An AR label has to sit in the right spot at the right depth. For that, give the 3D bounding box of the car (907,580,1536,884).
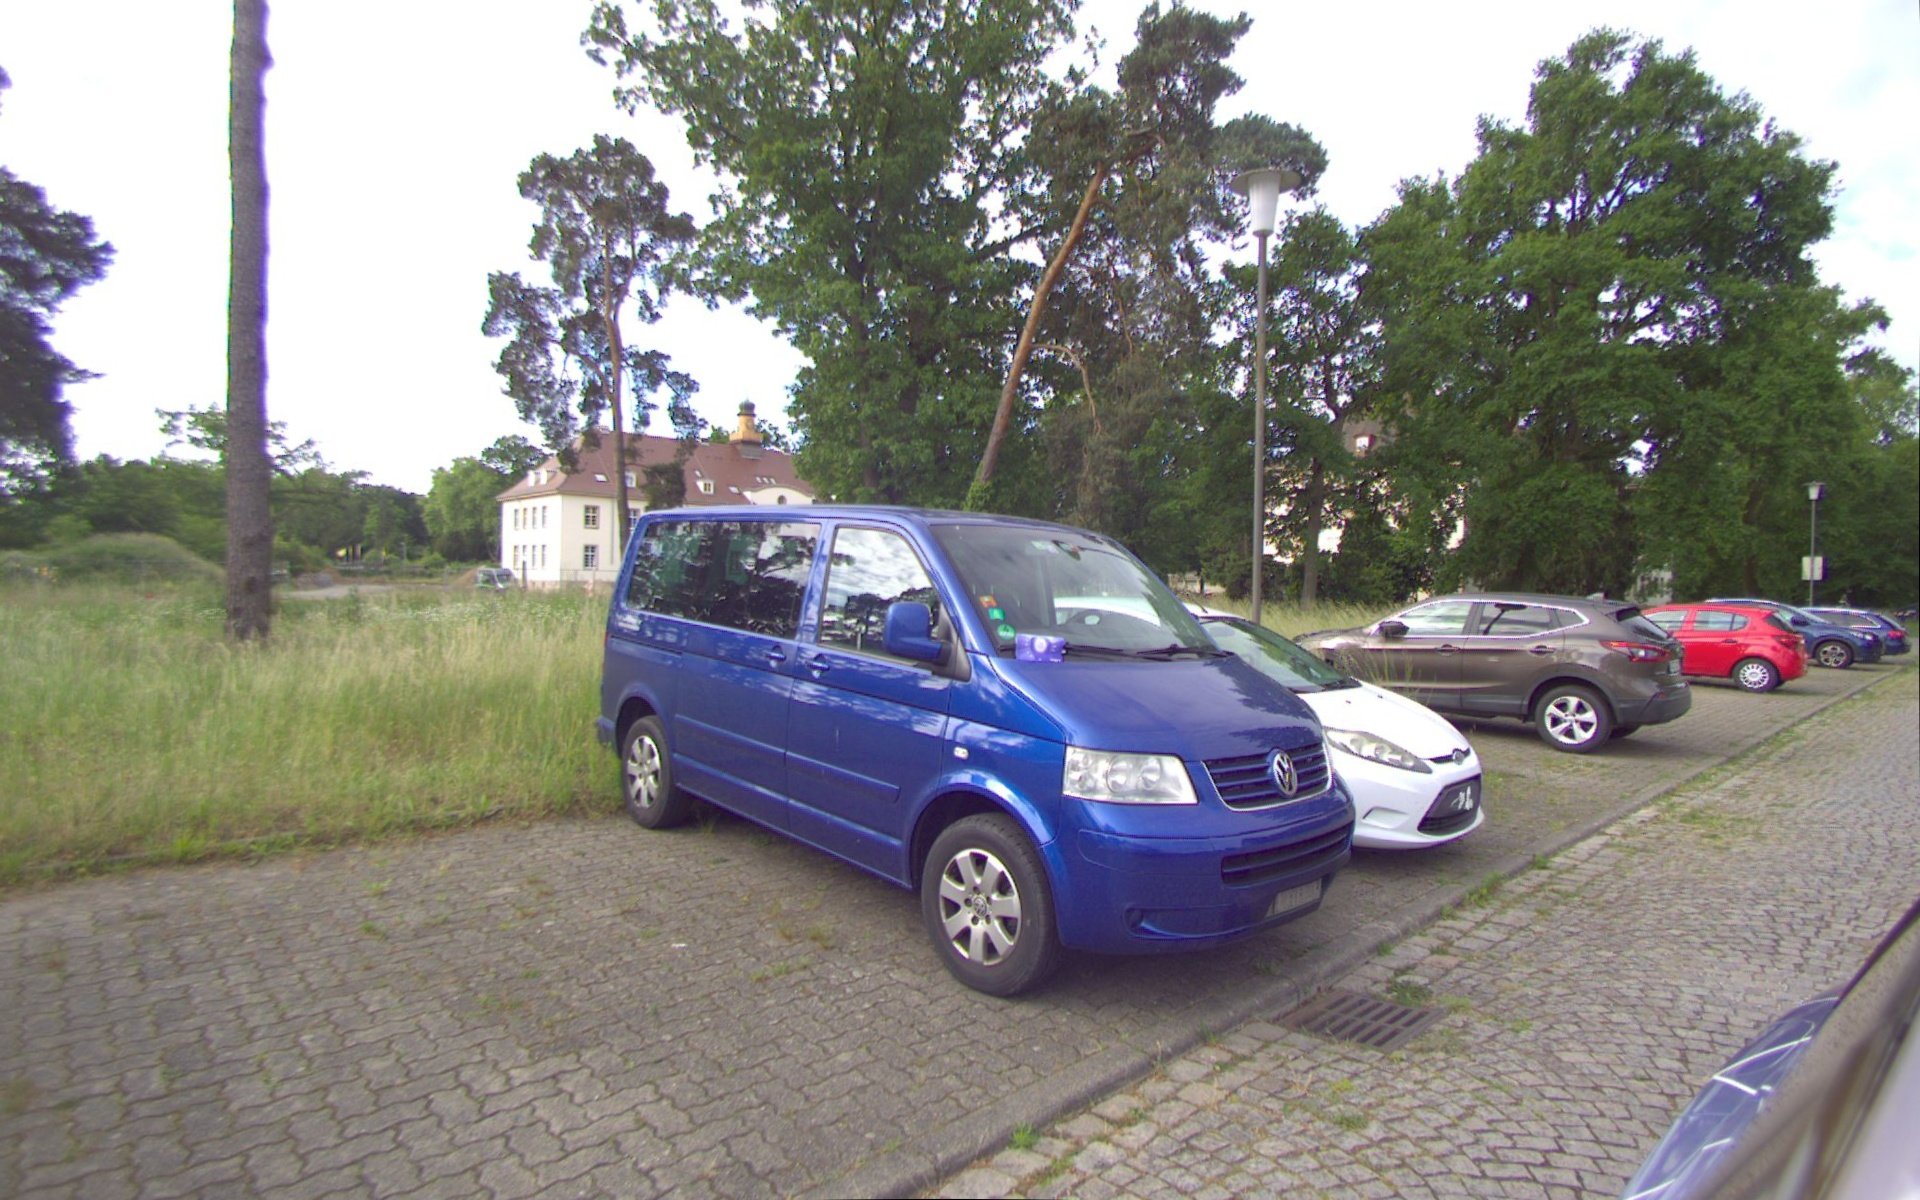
[{"bbox_3d":[1.626,0.660,7.311,4.100,1.497,1.694,3,2,45],"label":"car"}]

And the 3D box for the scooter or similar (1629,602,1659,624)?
[{"bbox_3d":[37.320,0.696,55.246,0.406,1.185,1.305,0,-1,-43],"label":"scooter or similar"}]

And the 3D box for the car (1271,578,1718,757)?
[{"bbox_3d":[6.028,0.609,11.760,1.921,1.615,4.207,0,2,-44],"label":"car"}]

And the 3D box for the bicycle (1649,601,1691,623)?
[{"bbox_3d":[39.303,0.658,56.074,1.841,1.185,0.484,0,0,27],"label":"bicycle"}]

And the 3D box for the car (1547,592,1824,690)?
[{"bbox_3d":[13.346,0.678,18.769,1.755,1.515,3.927,0,1,-44],"label":"car"}]

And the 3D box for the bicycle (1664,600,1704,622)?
[{"bbox_3d":[41.684,0.607,58.262,1.850,1.184,0.481,3,1,38],"label":"bicycle"}]

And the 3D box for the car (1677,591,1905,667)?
[{"bbox_3d":[20.875,0.648,25.544,1.855,1.643,4.249,1,1,-44],"label":"car"}]

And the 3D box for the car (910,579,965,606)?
[{"bbox_3d":[-2.013,-0.660,91.221,4.856,2.333,1.920,0,1,-43],"label":"car"}]

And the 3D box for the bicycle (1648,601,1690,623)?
[{"bbox_3d":[38.880,0.660,55.499,1.838,1.185,0.484,0,0,22],"label":"bicycle"}]

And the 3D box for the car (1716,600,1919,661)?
[{"bbox_3d":[24.334,0.789,28.666,1.892,1.457,4.366,1,1,-40],"label":"car"}]

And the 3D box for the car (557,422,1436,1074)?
[{"bbox_3d":[-0.258,0.382,5.551,1.934,2.029,4.800,1,2,-44],"label":"car"}]
